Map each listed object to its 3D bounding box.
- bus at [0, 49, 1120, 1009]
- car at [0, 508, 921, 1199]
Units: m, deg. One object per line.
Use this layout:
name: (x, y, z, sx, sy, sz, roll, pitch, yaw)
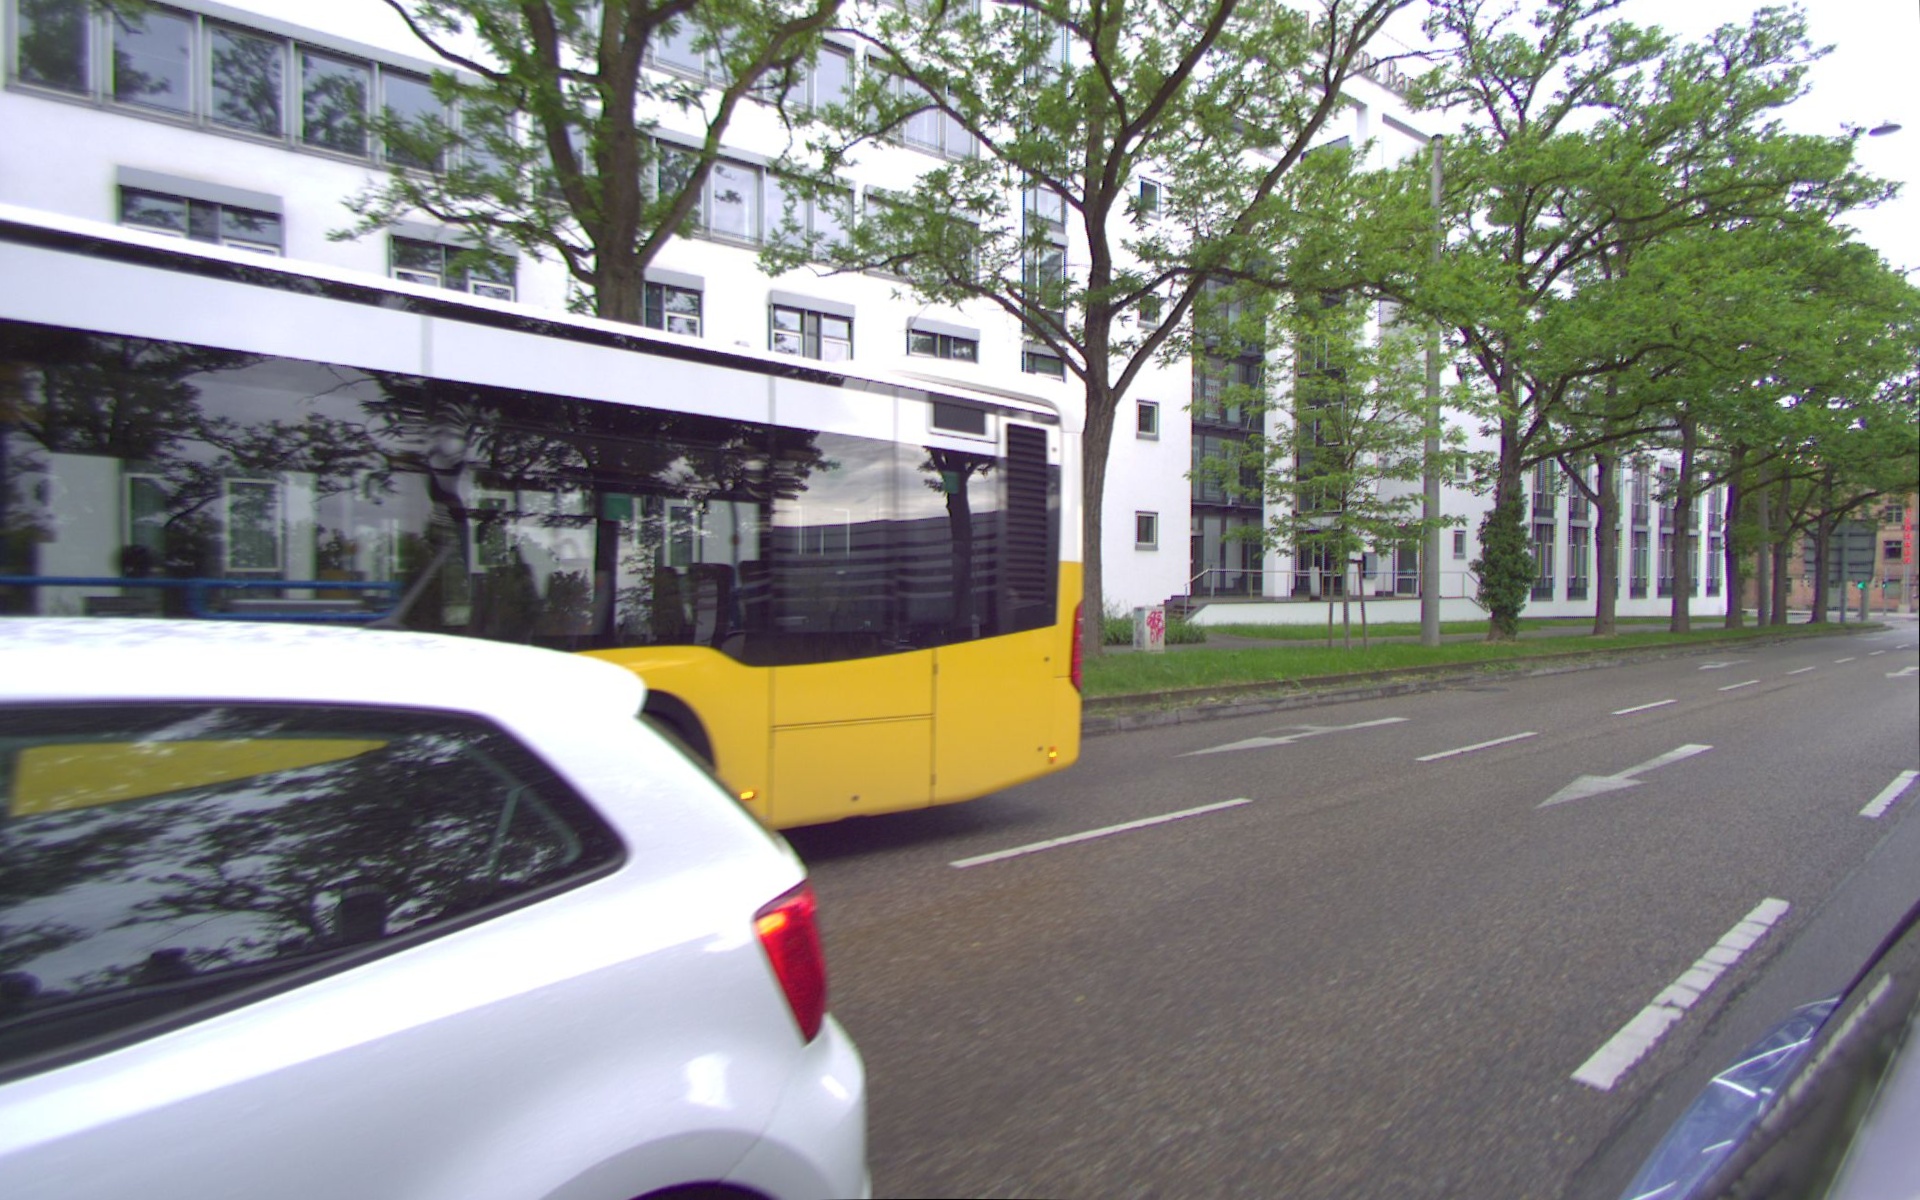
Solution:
bus: (-4.315, -0.232, 4.199, 11.930, 3.192, 2.731, 0, -1, -40)
car: (-2.024, 0.656, 1.160, 3.748, 1.450, 1.742, -1, 0, -43)
